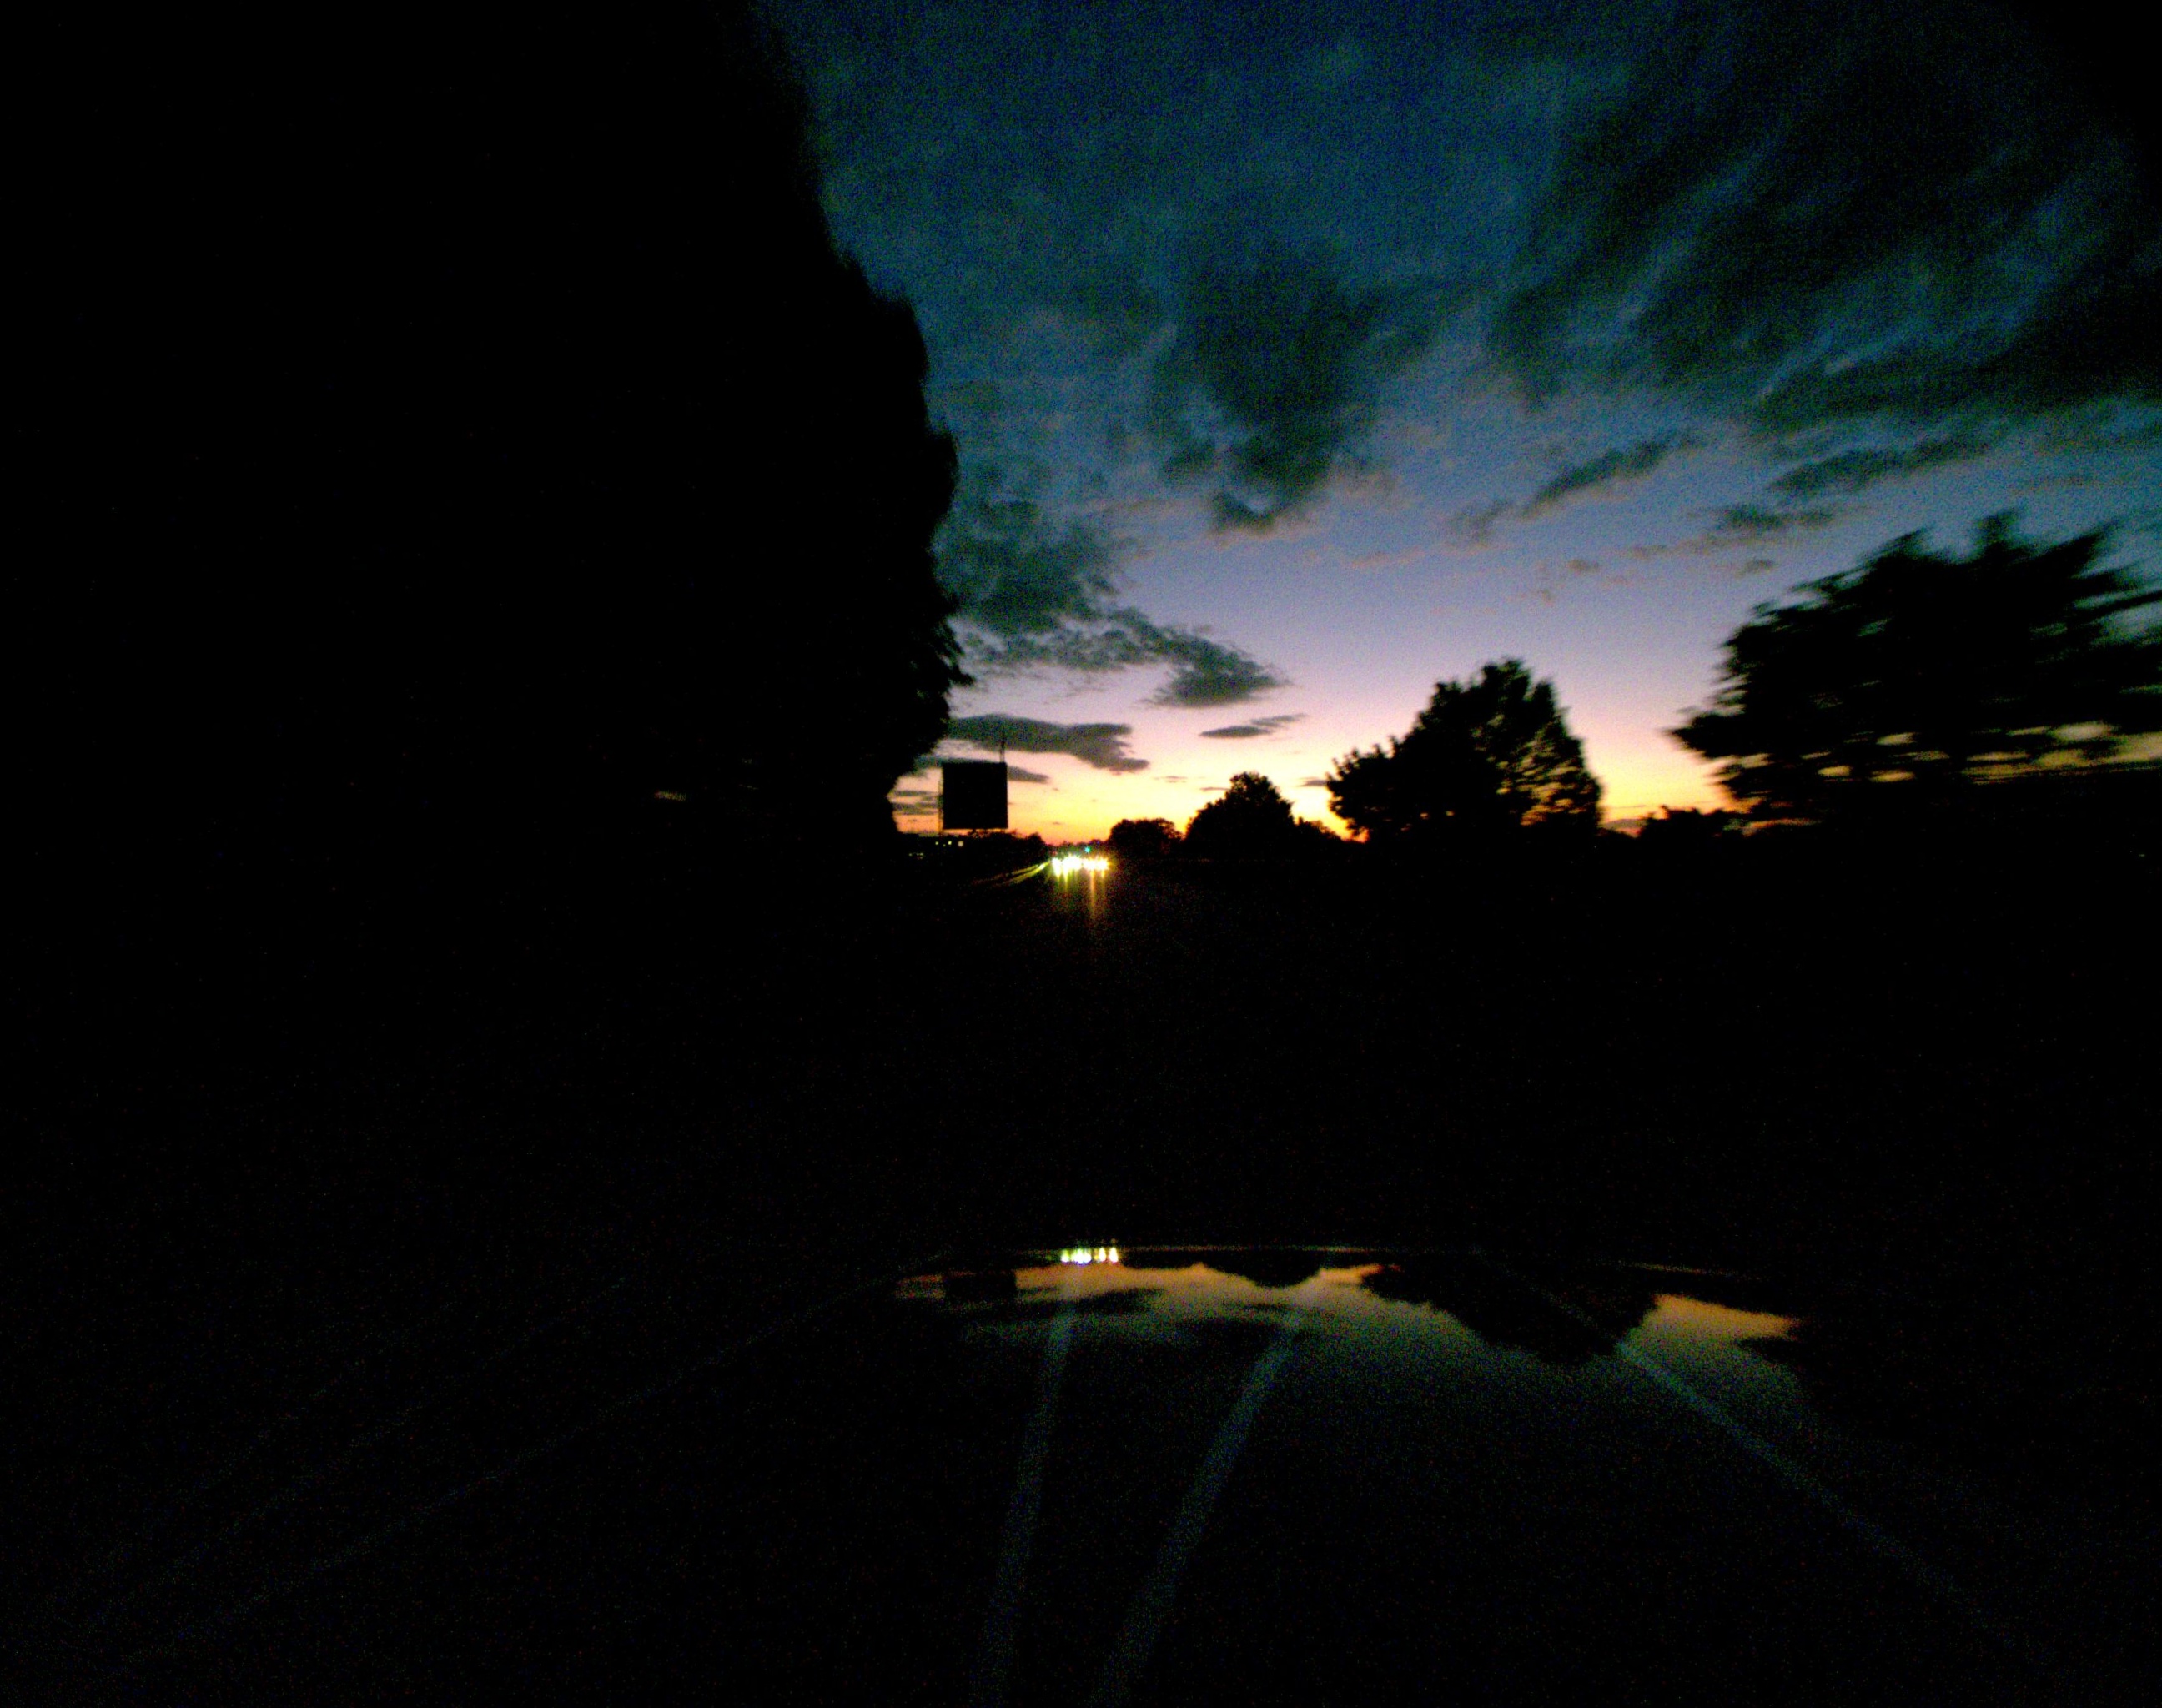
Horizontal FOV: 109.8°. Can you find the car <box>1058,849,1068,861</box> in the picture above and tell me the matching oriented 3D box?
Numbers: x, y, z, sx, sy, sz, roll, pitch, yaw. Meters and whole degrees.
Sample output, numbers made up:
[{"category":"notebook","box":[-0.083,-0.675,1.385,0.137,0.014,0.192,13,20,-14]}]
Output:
[{"category":"car","box":[-3.217,0.190,135.584,1.741,2.002,3.999,-2,0,-1]}]

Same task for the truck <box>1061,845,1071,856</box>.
[{"category":"truck","box":[-5.101,-1.198,260.523,3.016,3.674,9.057,-2,0,0]}]

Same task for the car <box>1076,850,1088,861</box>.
[{"category":"car","box":[0.114,0.263,141.056,1.999,1.778,3.999,-2,0,-1]}]

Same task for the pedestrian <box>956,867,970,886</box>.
[{"category":"pedestrian","box":[-10.655,2.027,68.613,1.065,1.633,1.118,-2,1,-2]}]

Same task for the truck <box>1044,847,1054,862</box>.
[{"category":"truck","box":[-8.699,0.122,208.157,2.491,3.778,5.497,-2,1,0]}]

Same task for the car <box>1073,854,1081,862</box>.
[{"category":"car","box":[-1.129,1.131,210.032,1.999,2.002,3.999,-2,0,0]}]

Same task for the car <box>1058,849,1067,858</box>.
[{"category":"car","box":[-4.273,-0.106,178.913,1.999,2.002,3.999,-2,0,0]}]

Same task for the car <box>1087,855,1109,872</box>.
[{"category":"car","box":[1.757,0.974,79.633,1.999,1.635,4.296,-2,0,-1]}]
